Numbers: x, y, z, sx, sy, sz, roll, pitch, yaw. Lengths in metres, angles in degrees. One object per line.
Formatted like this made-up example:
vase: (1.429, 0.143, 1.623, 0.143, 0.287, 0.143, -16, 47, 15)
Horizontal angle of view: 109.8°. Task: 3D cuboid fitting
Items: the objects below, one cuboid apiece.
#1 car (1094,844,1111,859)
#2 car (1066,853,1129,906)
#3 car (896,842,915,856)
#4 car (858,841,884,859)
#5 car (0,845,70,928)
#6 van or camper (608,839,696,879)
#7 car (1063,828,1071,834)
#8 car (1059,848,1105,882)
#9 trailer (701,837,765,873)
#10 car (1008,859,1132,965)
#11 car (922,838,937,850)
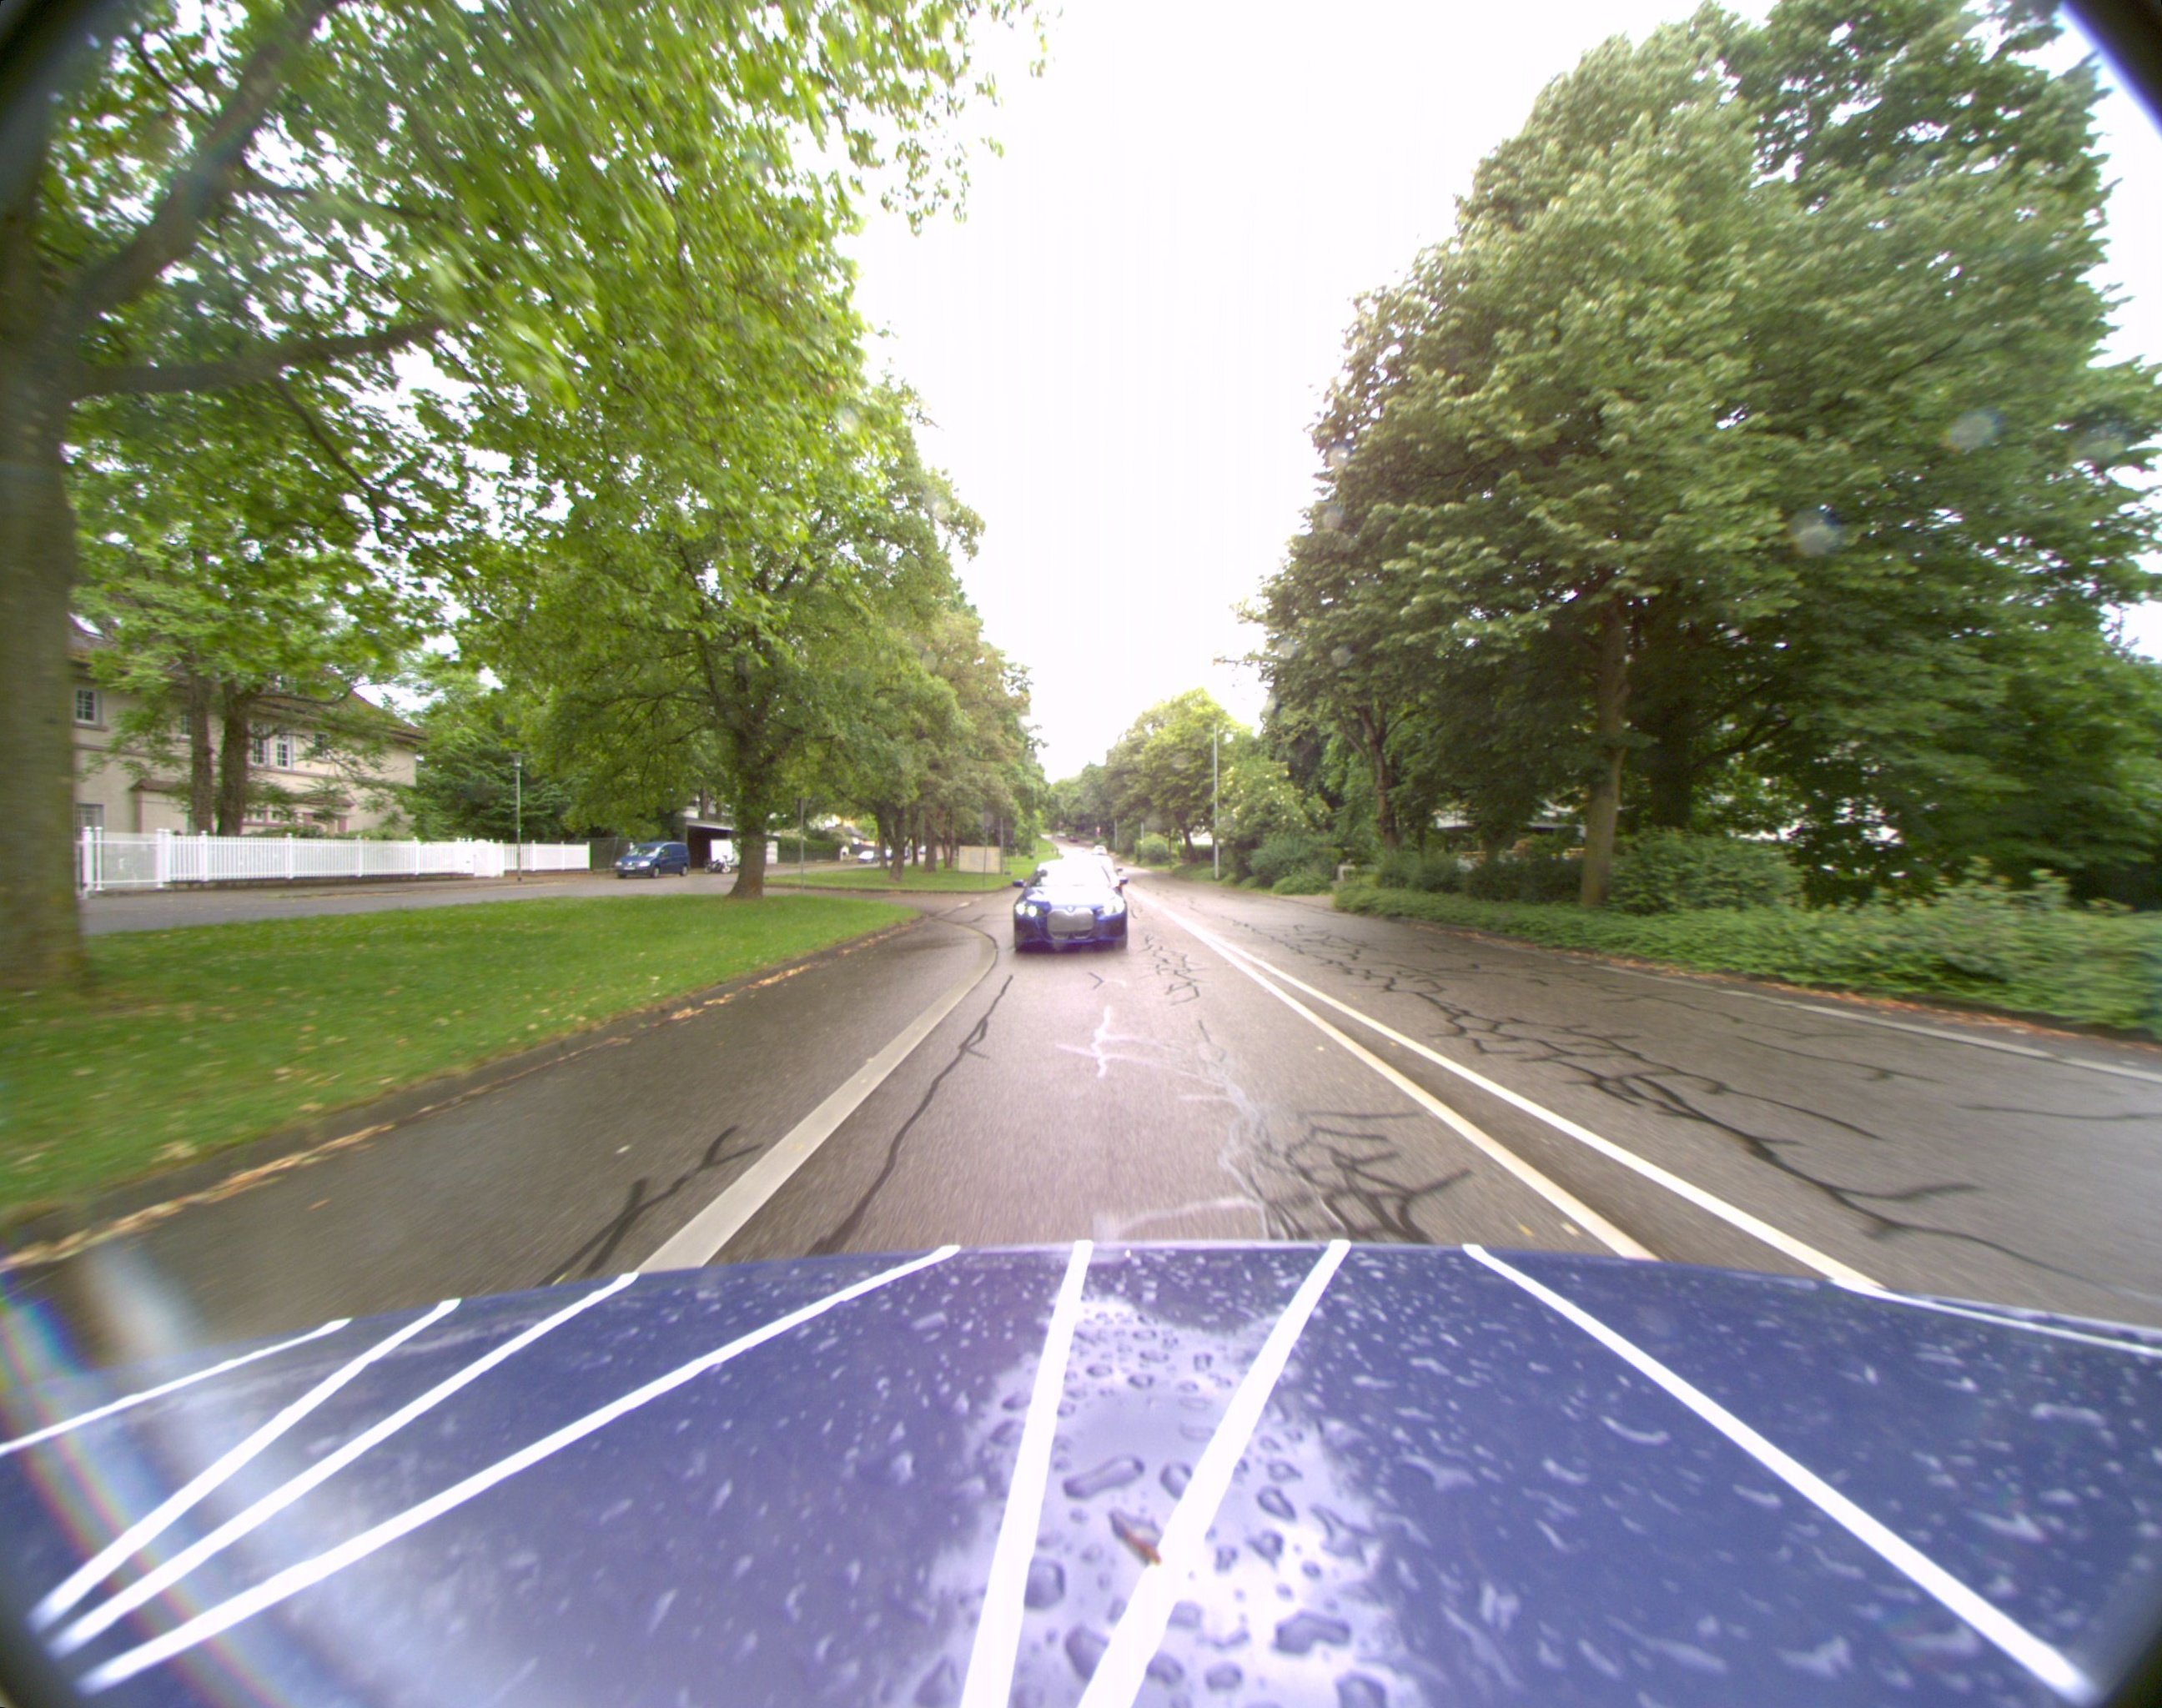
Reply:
car: (2.970, -0.373, 106.215, 1.999, 2.001, 4.573, 0, -1, -4)
car: (0.460, 0.755, 24.881, 1.826, 1.471, 4.066, -2, 1, -1)
car: (-26.199, -0.741, 113.526, 1.999, 2.001, 4.000, 0, -1, -3)
car: (-24.744, -0.494, 89.529, 1.999, 2.002, 3.999, 0, 1, -1)
car: (-19.723, 0.611, 12.012, 1.999, 1.440, 4.122, -2, 1, -4)
van or camper: (-21.355, 0.198, 38.103, 1.999, 1.798, 4.773, -2, 1, -5)
car: (-3.528, -5.843, 189.539, 1.825, 1.471, 4.067, 0, 1, 2)
car: (0.011, 0.480, 36.244, 2.032, 1.471, 4.066, -2, 1, -1)
trailer: (-21.730, 0.034, 47.678, 1.771, 2.104, 5.191, -2, 1, -3)
car: (-0.193, 0.890, 13.558, 1.826, 1.471, 4.066, -2, 1, -1)
car: (-27.426, -1.820, 137.718, 1.999, 2.002, 3.998, 0, 1, -3)
